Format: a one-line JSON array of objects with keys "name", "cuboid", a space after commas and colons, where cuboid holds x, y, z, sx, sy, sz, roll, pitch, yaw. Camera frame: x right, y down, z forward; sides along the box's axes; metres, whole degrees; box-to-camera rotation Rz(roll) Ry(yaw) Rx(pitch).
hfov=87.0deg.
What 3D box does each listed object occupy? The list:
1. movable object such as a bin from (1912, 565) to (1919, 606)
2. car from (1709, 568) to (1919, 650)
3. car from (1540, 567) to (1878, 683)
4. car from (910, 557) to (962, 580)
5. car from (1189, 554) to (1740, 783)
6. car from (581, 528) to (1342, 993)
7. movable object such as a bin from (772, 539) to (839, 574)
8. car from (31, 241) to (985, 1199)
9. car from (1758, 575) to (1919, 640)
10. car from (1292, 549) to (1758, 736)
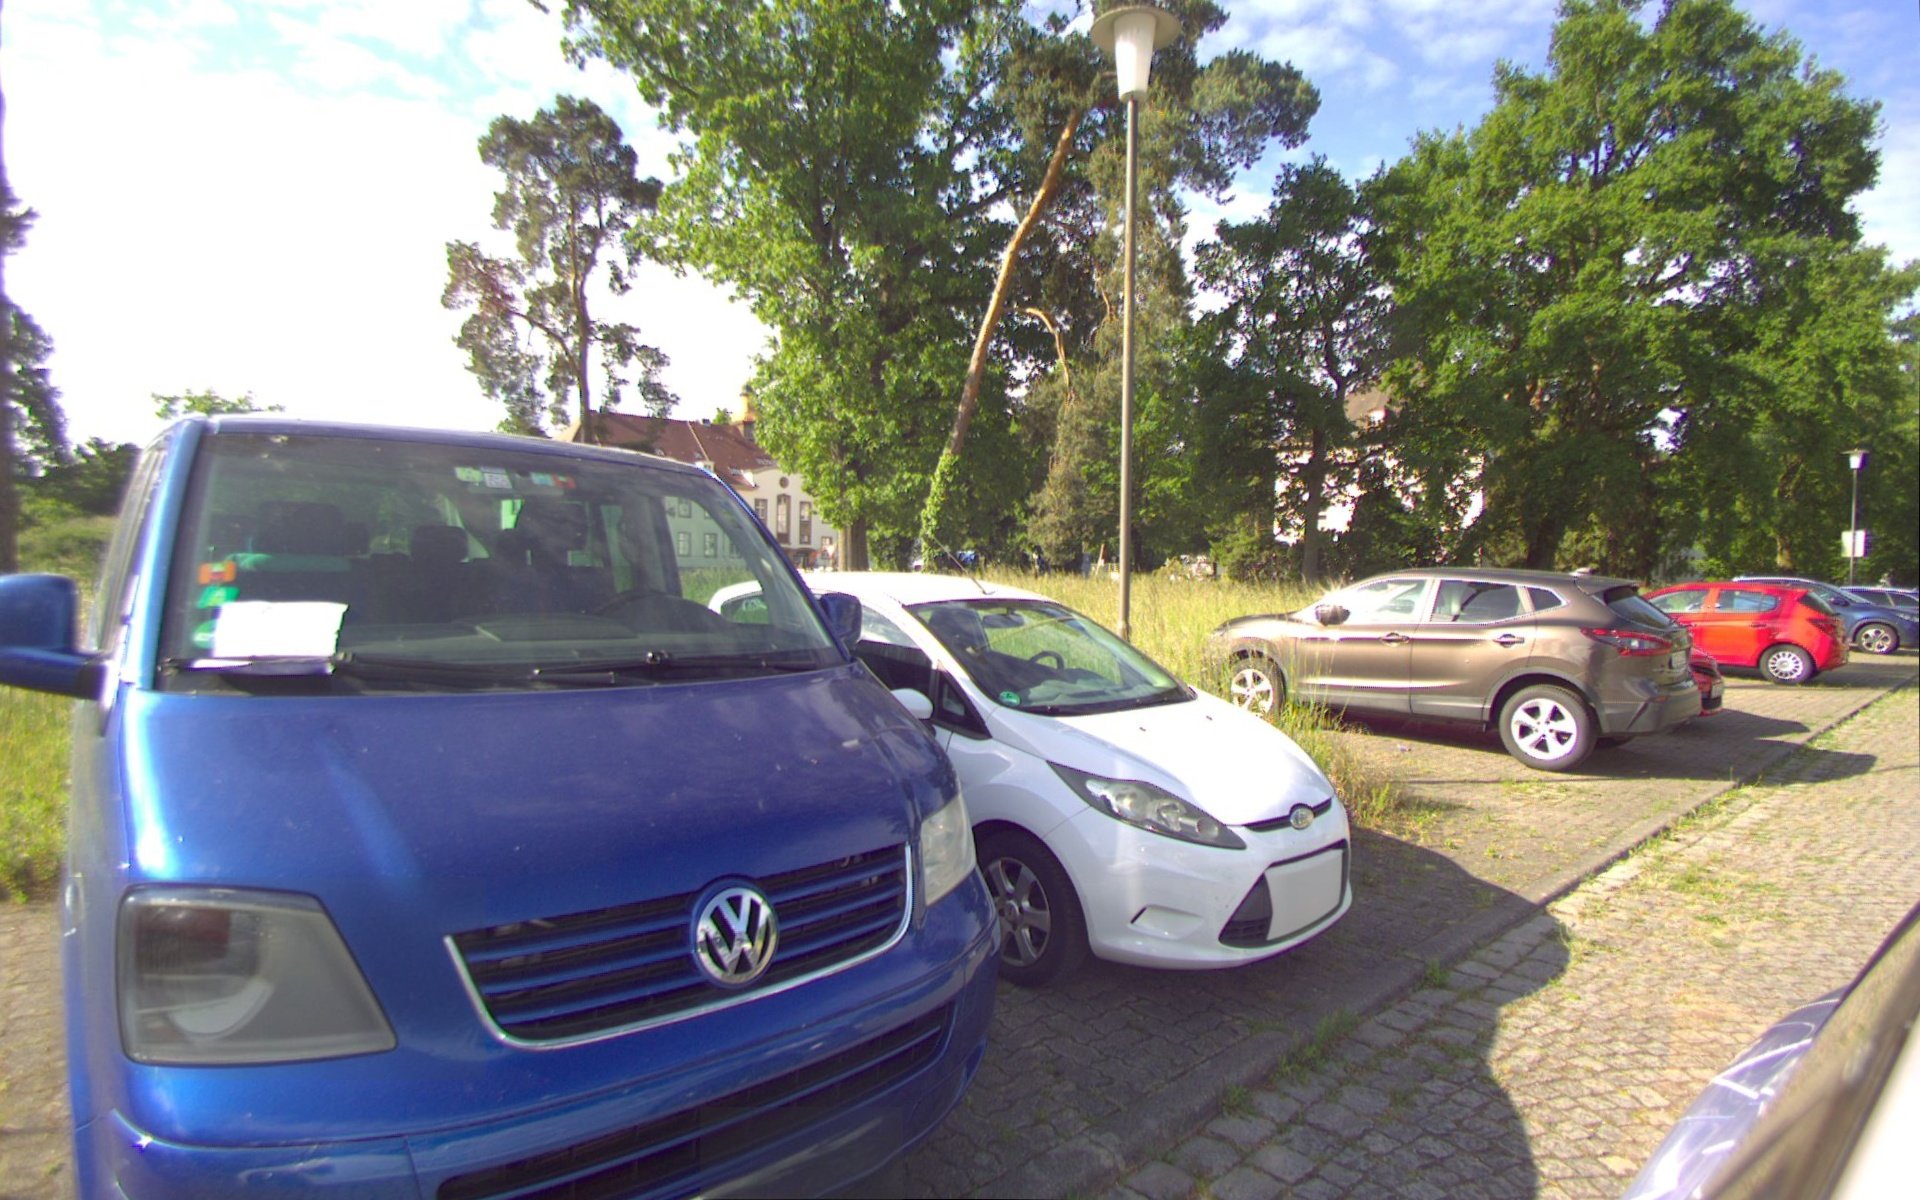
[{"name": "movable object such as a bin", "cuboid": [49.743, -0.684, 49.058, 1.959, 2.039, 4.881, 0, 1, -28]}, {"name": "car", "cuboid": [19.661, 0.148, 22.856, 1.821, 1.576, 4.094, 0, 4, -42]}, {"name": "car", "cuboid": [12.005, 0.298, 16.433, 1.821, 1.477, 4.094, 0, 4, -42]}, {"name": "car", "cuboid": [-2.068, -2.763, 88.814, 4.319, 1.963, 1.905, -2, 1, -40]}, {"name": "car", "cuboid": [4.489, 0.403, 9.502, 1.903, 1.617, 4.230, -2, 3, -44]}, {"name": "car", "cuboid": [-0.388, 0.429, 5.787, 1.906, 1.596, 4.406, -1, 4, -41]}, {"name": "movable object such as a bin", "cuboid": [-15.932, -4.472, 104.671, 6.336, 3.342, 2.863, -1, 0, 6]}, {"name": "car", "cuboid": [-2.231, 0.288, 3.984, 1.966, 1.958, 4.708, -1, 4, -41]}, {"name": "car", "cuboid": [23.193, 0.181, 25.897, 1.754, 1.440, 4.094, 0, 4, -42]}, {"name": "car", "cuboid": [6.239, 0.296, 11.543, 1.903, 1.617, 4.231, -2, 5, -44]}]
